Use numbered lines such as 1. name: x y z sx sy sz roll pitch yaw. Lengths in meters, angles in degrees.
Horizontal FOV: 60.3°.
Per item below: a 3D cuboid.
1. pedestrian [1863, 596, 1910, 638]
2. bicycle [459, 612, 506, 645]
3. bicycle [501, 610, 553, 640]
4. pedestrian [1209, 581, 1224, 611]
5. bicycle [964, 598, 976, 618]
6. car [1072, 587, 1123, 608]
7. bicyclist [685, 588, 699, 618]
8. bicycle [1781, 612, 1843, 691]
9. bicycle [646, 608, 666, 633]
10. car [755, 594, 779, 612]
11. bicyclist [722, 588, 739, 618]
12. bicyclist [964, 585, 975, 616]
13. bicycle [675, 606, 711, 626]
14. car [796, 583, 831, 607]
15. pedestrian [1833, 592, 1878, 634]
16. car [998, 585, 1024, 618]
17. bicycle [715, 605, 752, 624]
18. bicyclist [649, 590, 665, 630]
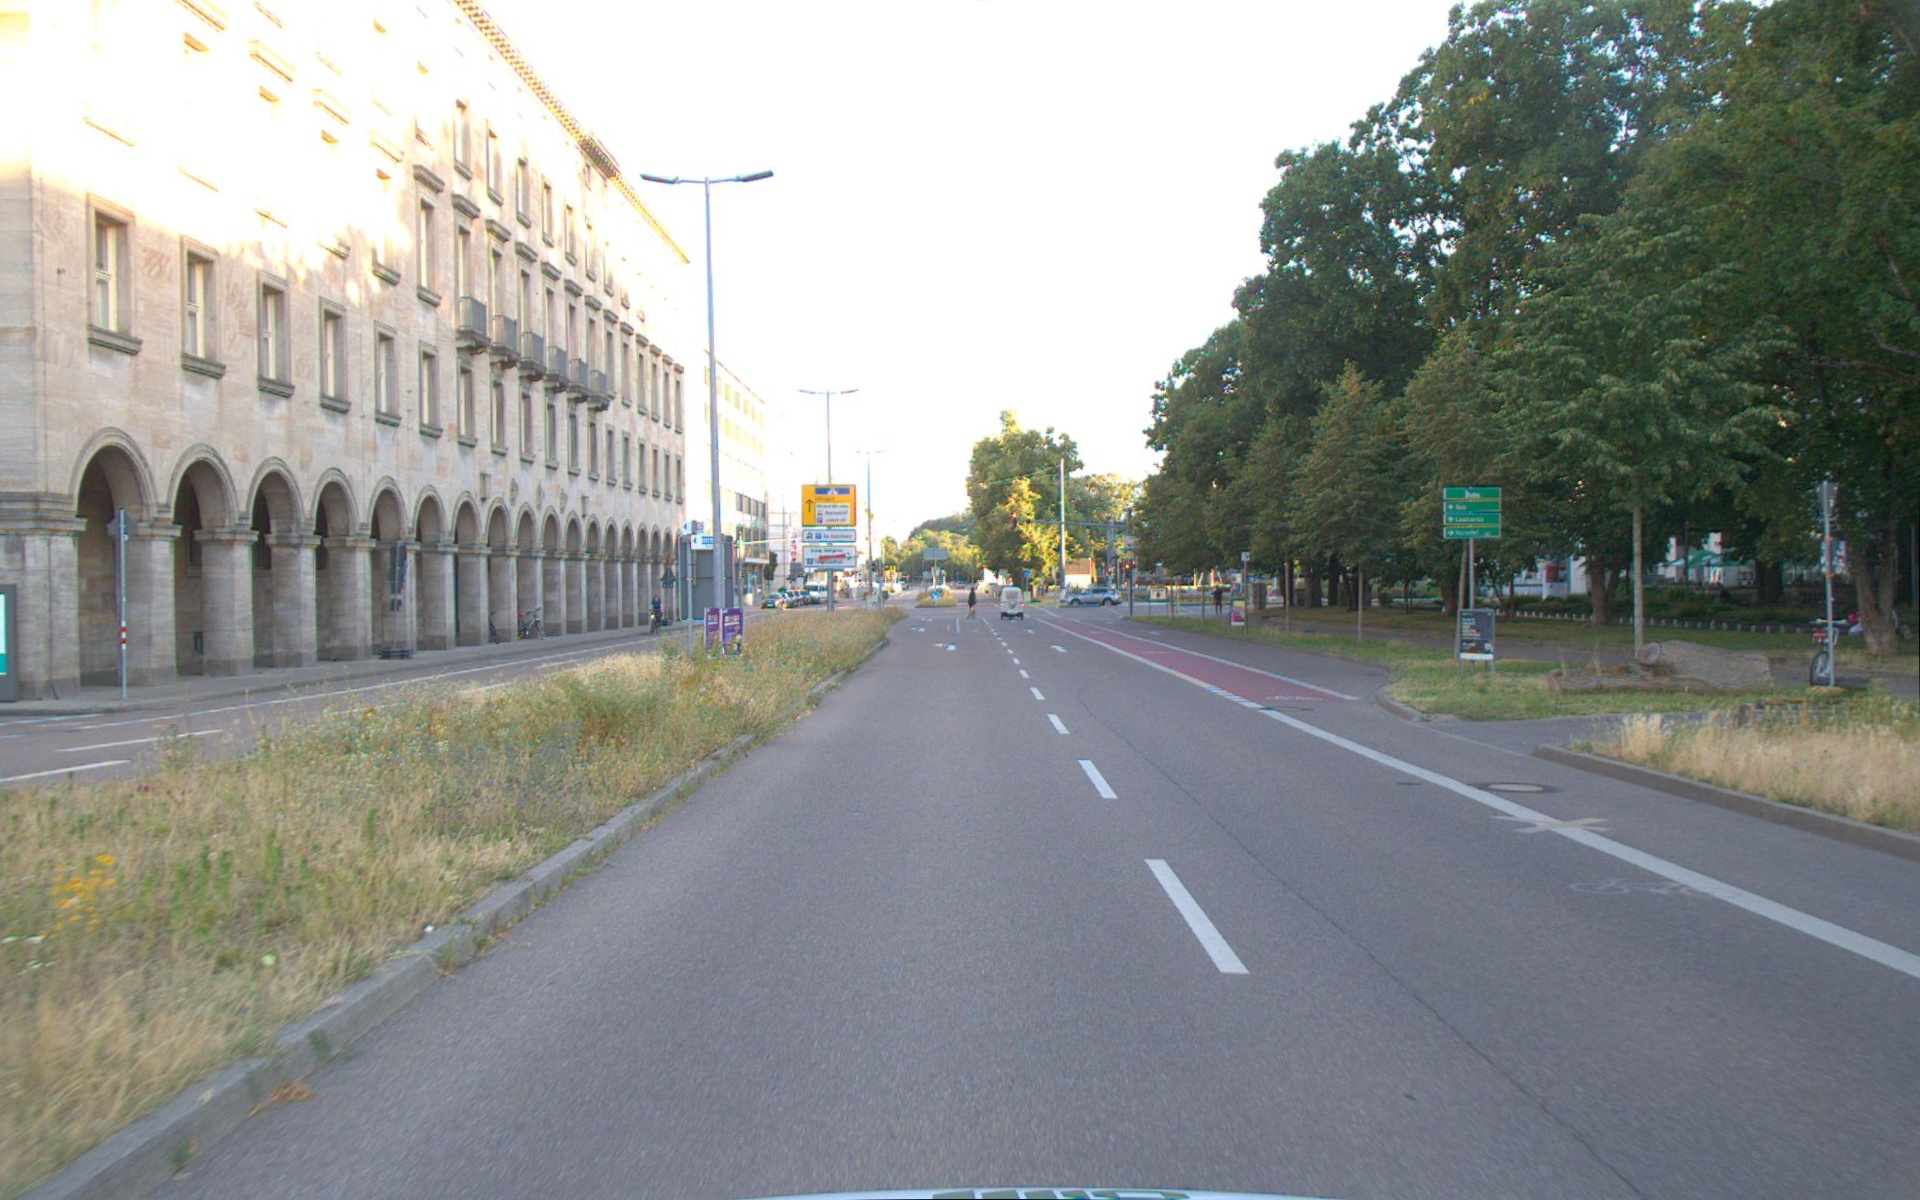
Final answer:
1. pedestrian: 20.220 0.362 36.106 0.670 0.900 0.619 -1 0 -25
2. bicycle: -15.990 0.947 55.436 0.467 1.023 2.006 -1 0 18
3. bicycle: -15.822 0.918 60.476 0.469 1.023 1.998 -1 0 35
4. pedestrian: 14.800 -0.253 95.486 0.681 1.723 0.748 -1 0 -2
5. bicycle: 0.549 0.437 92.979 0.624 1.087 2.069 0 0 0
6. car: 10.860 -0.188 130.477 3.904 1.601 2.001 -1 0 2
7. bicyclist: -15.633 0.164 96.571 0.733 1.723 0.713 -1 0 -14
8. bicycle: 12.389 0.733 24.080 0.484 1.023 1.899 -3 0 19
9. bicycle: -13.320 0.897 72.452 0.530 1.023 2.005 -1 0 -1
10. car: -17.629 0.297 150.967 1.760 1.501 3.998 -1 -2 -1
11. bicyclist: -13.588 0.173 97.792 0.730 1.723 0.765 -1 0 17
12. bicyclist: 0.536 0.009 92.663 0.615 1.723 0.748 -1 0 -1
13. bicycle: -15.594 0.930 96.562 1.982 1.087 0.728 -1 0 -16
14. car: -16.049 -0.492 181.570 2.130 2.427 5.994 -2 -2 11
15. pedestrian: 19.887 0.291 36.732 0.670 0.900 0.588 -1 0 -25
16. car: 2.835 0.070 92.422 1.429 1.811 2.565 0 1 2
17. bicycle: -13.367 0.839 97.726 2.014 1.087 0.787 -1 0 17
18. bicyclist: -13.331 0.438 72.722 0.525 1.723 0.748 -1 0 -1
